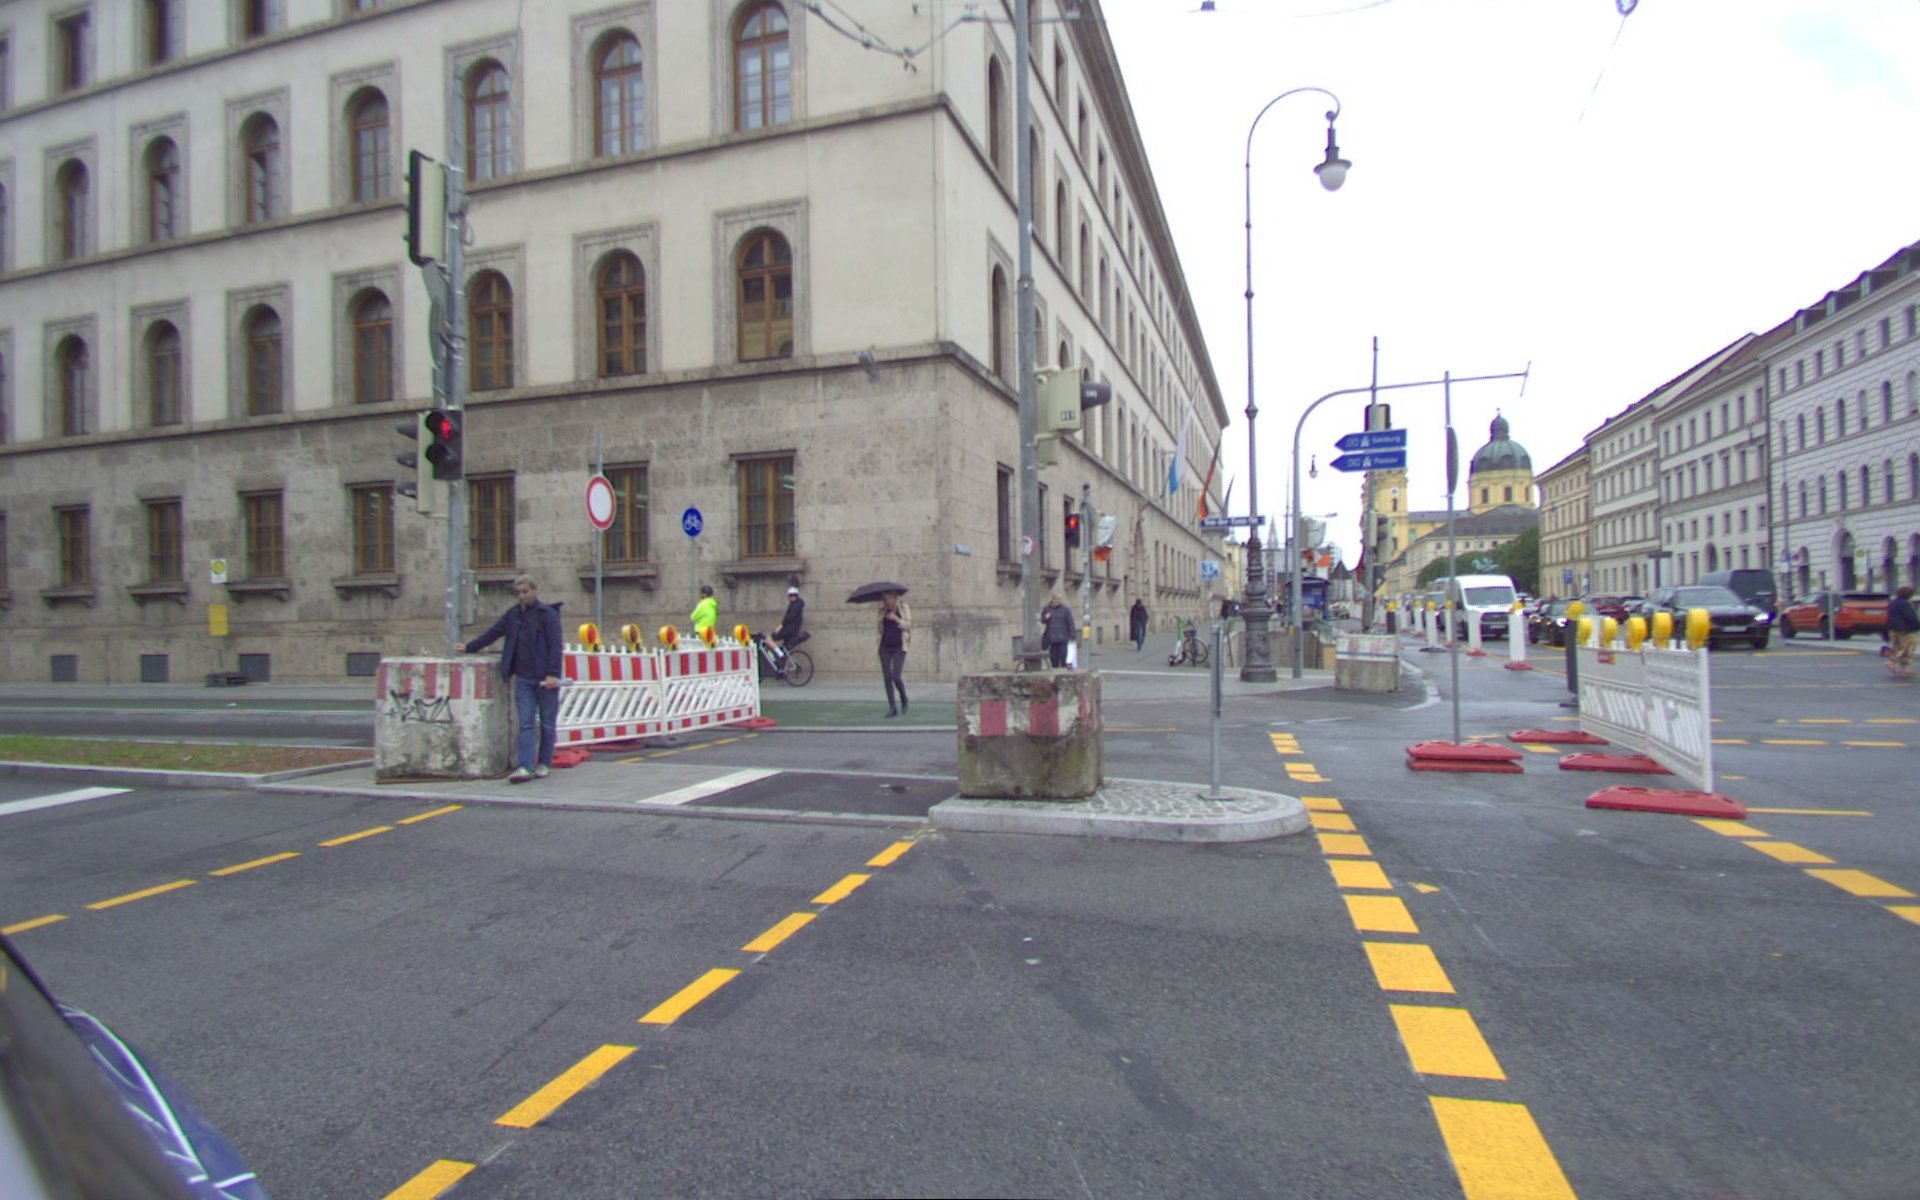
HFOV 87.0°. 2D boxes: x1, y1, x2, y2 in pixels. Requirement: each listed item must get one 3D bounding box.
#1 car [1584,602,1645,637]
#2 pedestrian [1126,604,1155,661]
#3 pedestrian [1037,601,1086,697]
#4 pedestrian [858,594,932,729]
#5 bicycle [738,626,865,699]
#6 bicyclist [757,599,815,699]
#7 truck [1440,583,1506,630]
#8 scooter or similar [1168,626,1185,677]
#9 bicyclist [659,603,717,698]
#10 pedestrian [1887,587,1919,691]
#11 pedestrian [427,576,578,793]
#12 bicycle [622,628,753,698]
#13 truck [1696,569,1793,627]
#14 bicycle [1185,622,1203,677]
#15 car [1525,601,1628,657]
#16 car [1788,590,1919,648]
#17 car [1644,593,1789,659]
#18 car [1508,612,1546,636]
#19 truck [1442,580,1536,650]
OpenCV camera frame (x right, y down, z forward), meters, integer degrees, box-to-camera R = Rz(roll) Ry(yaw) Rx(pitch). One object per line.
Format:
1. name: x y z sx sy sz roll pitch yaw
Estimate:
1. car: 35.734 1.054 55.333 1.853 1.812 3.729 -2 -1 19
2. pedestrian: 5.510 0.979 30.817 0.734 1.667 0.722 1 0 20
3. pedestrian: 1.824 0.859 18.134 0.733 1.667 0.723 1 0 17
4. pedestrian: -0.886 0.828 13.969 0.732 1.785 0.842 -2 0 16
5. bicycle: -2.913 1.144 18.571 2.184 1.252 0.783 -2 0 23
6. bicyclist: -3.209 0.896 18.696 0.684 1.789 0.795 -2 0 22
7. truck: 35.414 0.410 70.138 2.967 3.036 7.100 -2 0 19
8. scooter or similar: 5.397 1.263 25.210 0.378 1.153 1.982 -2 0 12
9. bicyclist: -5.185 0.952 19.307 0.684 1.762 0.795 -2 0 22
10. pedestrian: 16.934 0.667 17.747 0.731 1.785 0.734 -2 0 22
11. pedestrian: -3.845 0.698 8.538 1.031 1.756 0.513 -2 -1 9
12. bicycle: -5.220 1.200 19.326 2.433 1.252 0.783 -2 0 23
13. truck: 38.674 -0.056 50.039 2.204 2.683 4.754 -2 -1 18
14. bicycle: 5.805 1.206 25.131 0.378 1.252 1.982 -2 0 12
15. car: 19.444 0.878 32.122 1.786 1.606 3.978 -2 0 17
16. car: 28.514 0.597 32.297 1.808 1.733 3.976 -2 -1 18
17. car: 21.003 0.708 28.303 1.984 1.697 3.976 -2 -1 18
18. car: 43.190 1.836 77.163 1.809 1.733 3.974 -2 -1 19
19. truck: 20.518 0.593 39.532 2.098 2.499 5.827 -2 -1 17
